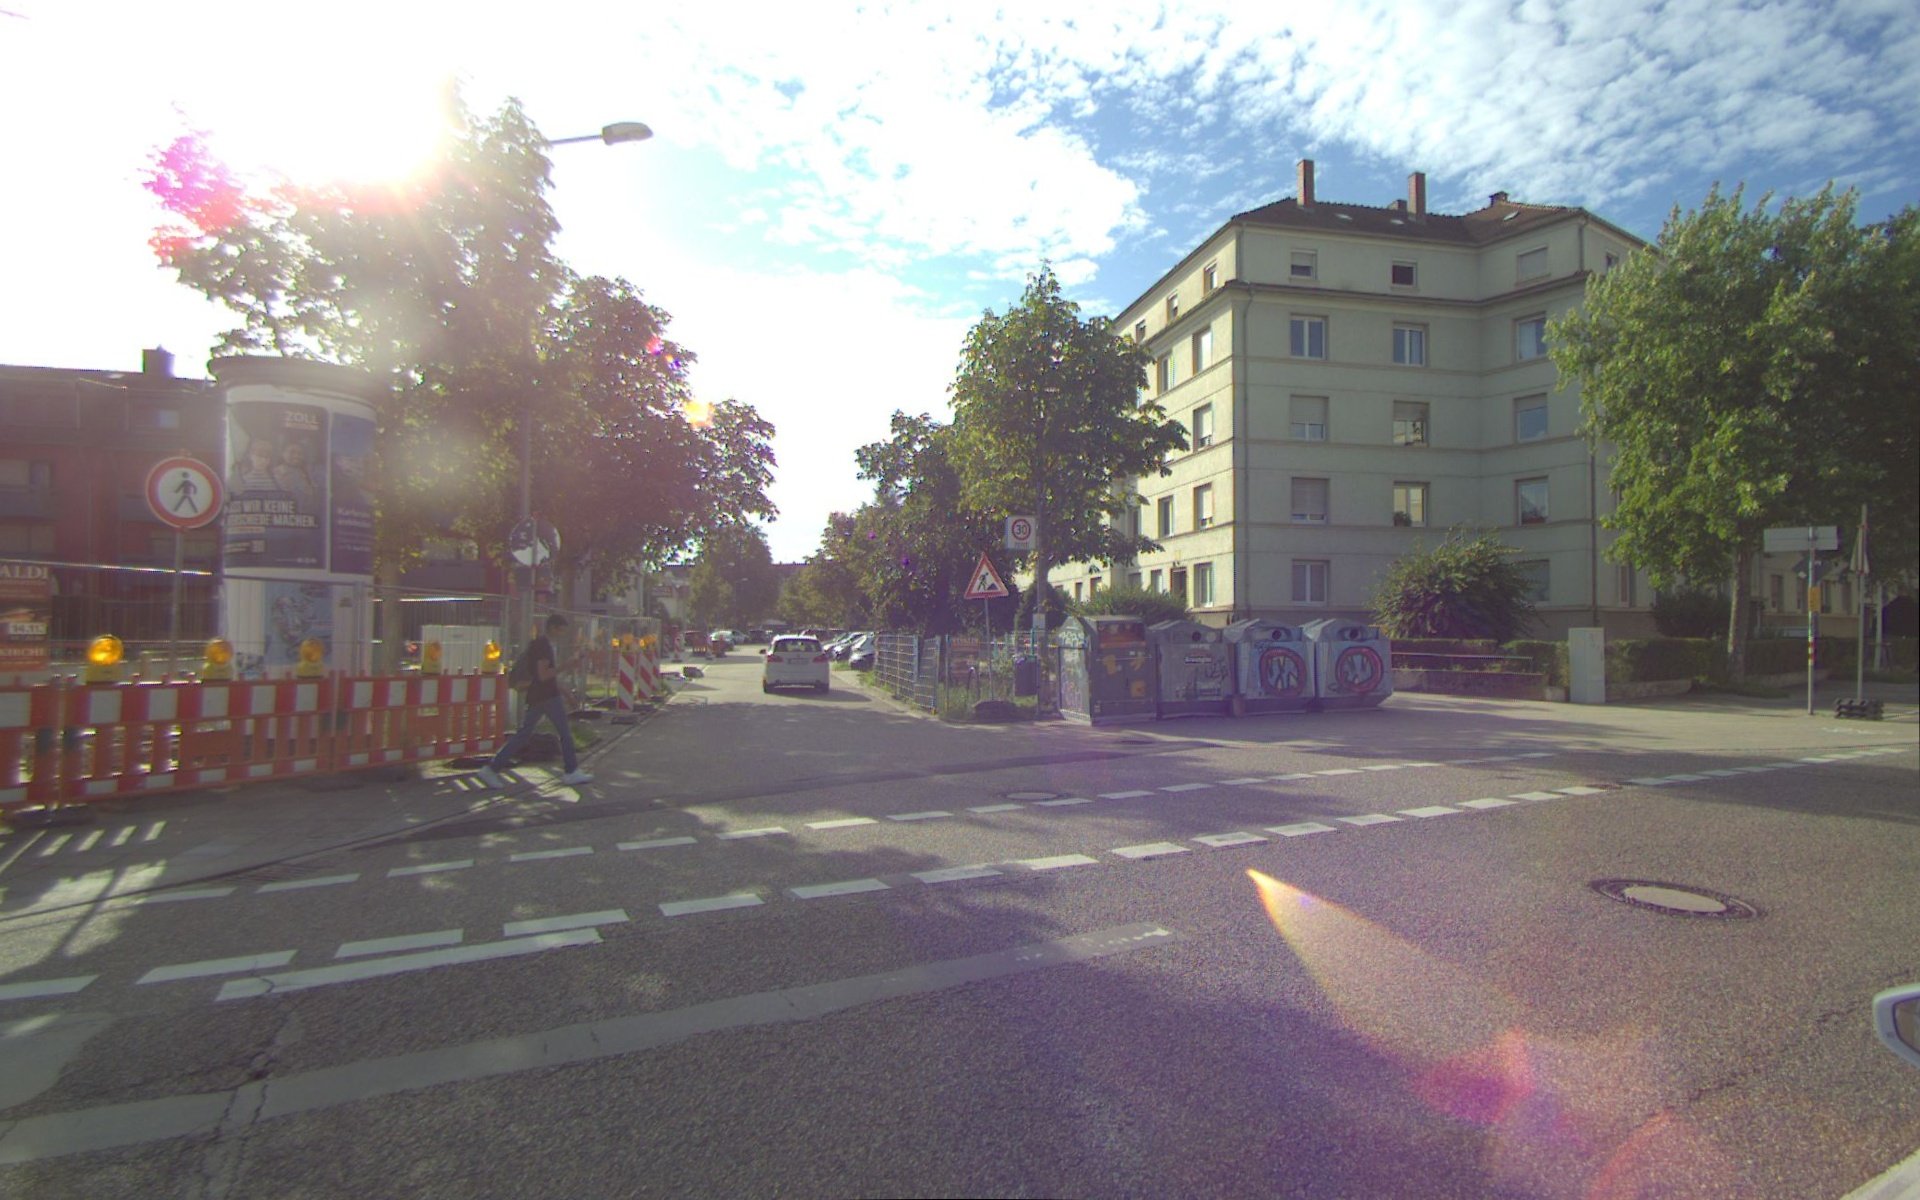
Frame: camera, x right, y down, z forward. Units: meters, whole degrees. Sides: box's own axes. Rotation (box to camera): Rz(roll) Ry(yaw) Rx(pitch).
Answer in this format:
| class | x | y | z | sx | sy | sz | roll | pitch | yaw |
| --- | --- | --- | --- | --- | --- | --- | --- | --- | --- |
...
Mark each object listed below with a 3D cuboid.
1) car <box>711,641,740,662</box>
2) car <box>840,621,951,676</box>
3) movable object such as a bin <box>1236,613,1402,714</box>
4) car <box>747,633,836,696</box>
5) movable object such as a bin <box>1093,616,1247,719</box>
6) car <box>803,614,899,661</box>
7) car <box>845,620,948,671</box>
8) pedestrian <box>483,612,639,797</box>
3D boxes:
| class | x | y | z | sx | sy | sz | roll | pitch | yaw |
| --- | --- | --- | --- | --- | --- | --- | --- | --- | --- |
| car | -18.638 | 4.084 | 80.090 | 1.964 | 1.550 | 3.995 | 0 | -2 | -9 |
| car | -2.490 | 1.832 | 38.630 | 3.934 | 2.040 | 1.994 | 0 | -2 | -16 |
| movable object such as a bin | 6.733 | 1.124 | 19.131 | 1.388 | 1.730 | 3.102 | -1 | -1 | -17 |
| car | -4.860 | 1.757 | 28.498 | 1.968 | 1.575 | 4.259 | 1 | -1 | -16 |
| movable object such as a bin | 3.777 | 1.170 | 18.539 | 1.522 | 1.730 | 3.103 | 1 | -1 | -16 |
| car | -4.944 | 1.672 | 45.447 | 3.938 | 2.040 | 1.992 | 1 | -1 | -19 |
| car | -2.637 | 1.859 | 41.329 | 3.934 | 2.040 | 1.994 | 0 | -2 | -16 |
| pedestrian | -4.077 | 1.015 | 10.269 | 1.170 | 1.750 | 0.997 | 3 | -3 | -43 |
